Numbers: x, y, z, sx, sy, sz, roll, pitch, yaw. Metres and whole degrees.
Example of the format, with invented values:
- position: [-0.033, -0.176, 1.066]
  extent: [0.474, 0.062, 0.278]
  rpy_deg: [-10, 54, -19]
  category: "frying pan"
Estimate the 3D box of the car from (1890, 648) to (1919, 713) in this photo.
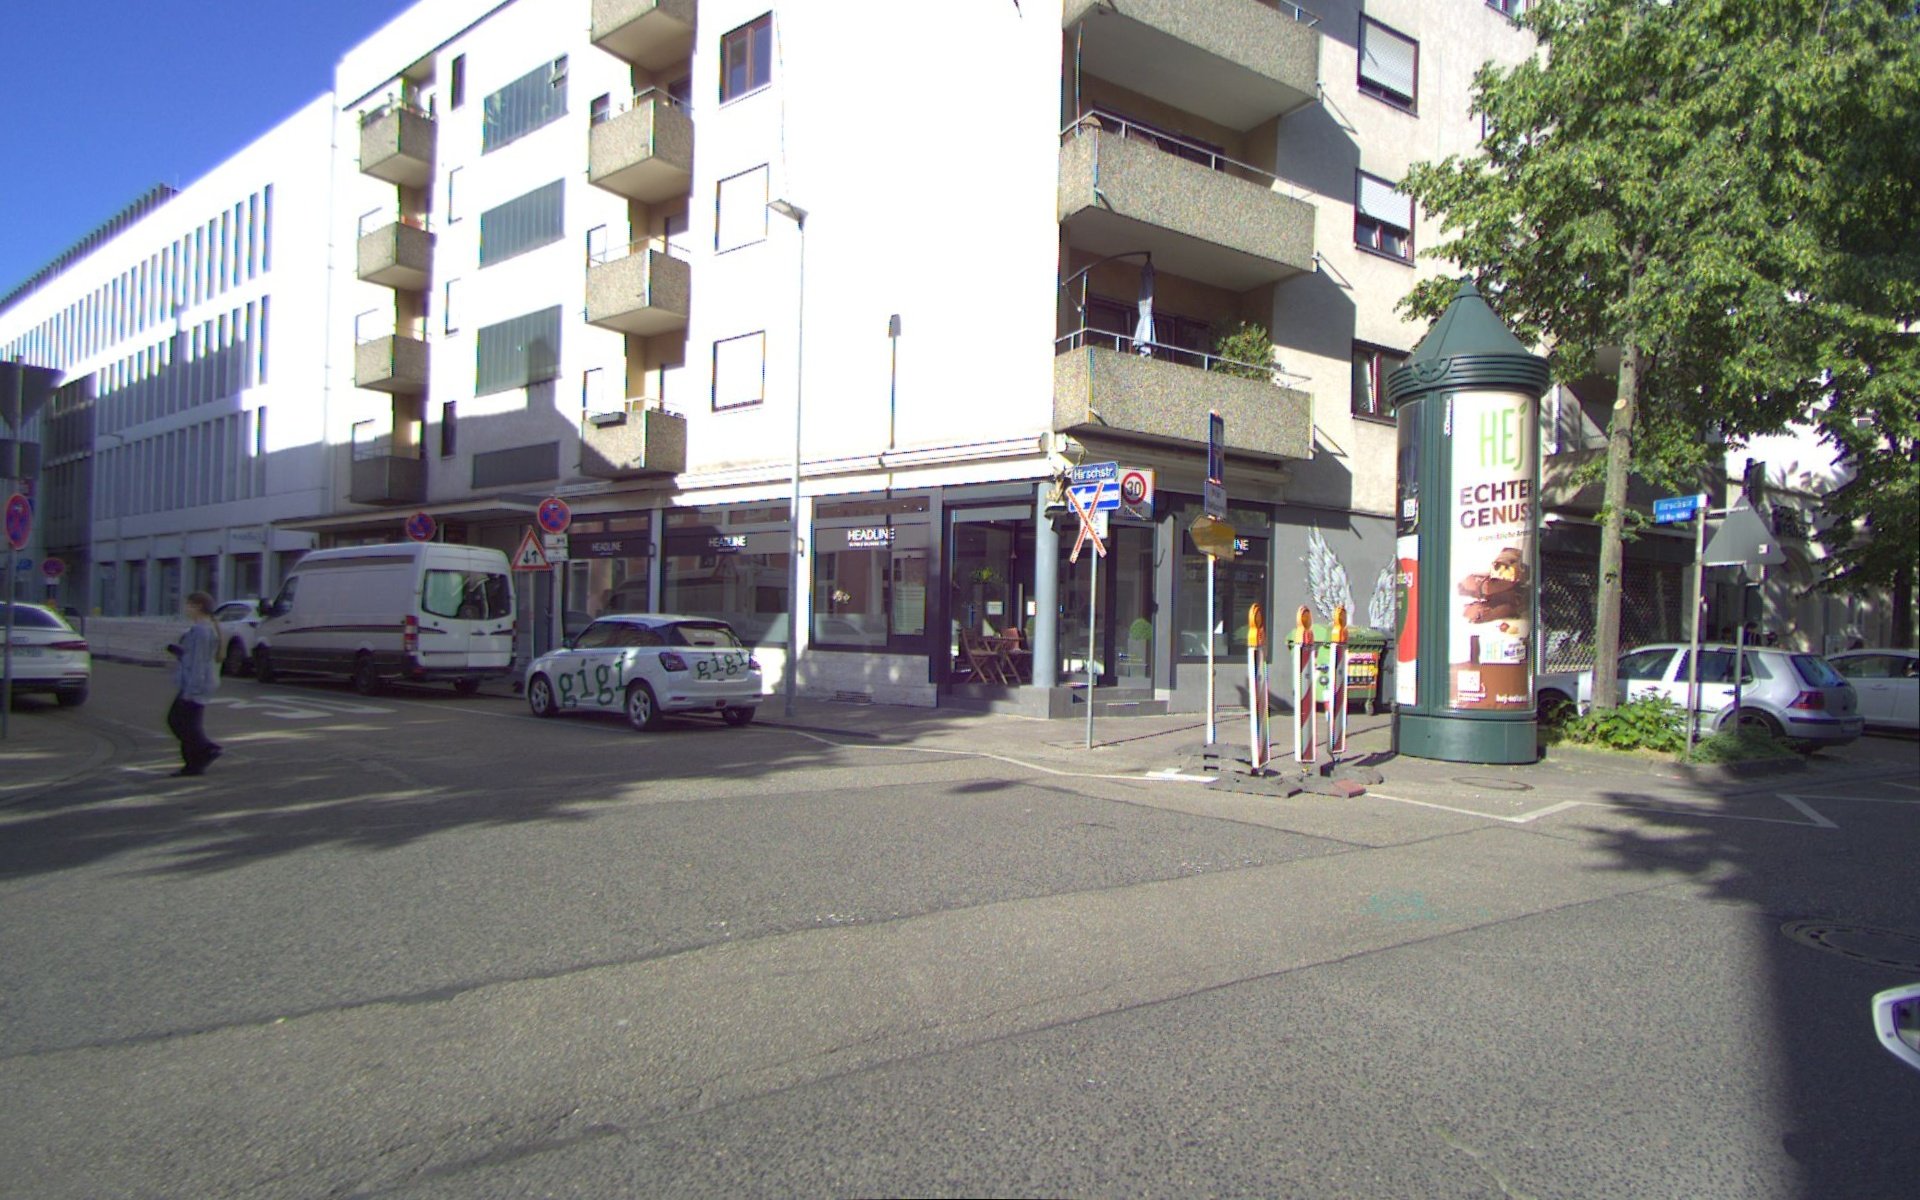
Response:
- position: [23.578, 1.904, 22.261]
  extent: [1.864, 1.483, 3.962]
  rpy_deg: [2, -1, -29]
  category: "car"

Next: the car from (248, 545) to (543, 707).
- position: [-10.772, 0.447, 18.939]
  extent: [6.398, 2.615, 2.219]
  rpy_deg: [0, -2, 34]
  category: "car"

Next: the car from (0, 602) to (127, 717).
- position: [-13.724, 0.782, 14.346]
  extent: [3.544, 1.496, 1.993]
  rpy_deg: [0, -2, 36]
  category: "car"

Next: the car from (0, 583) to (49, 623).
- position: [-35.998, 0.113, 37.864]
  extent: [3.456, 1.414, 1.775]
  rpy_deg: [0, -2, 36]
  category: "car"

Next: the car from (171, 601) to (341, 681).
- position: [-16.106, 0.901, 22.960]
  extent: [3.721, 1.665, 1.900]
  rpy_deg: [0, -2, 33]
  category: "car"

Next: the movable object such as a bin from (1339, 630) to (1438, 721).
- position: [7.369, 1.275, 17.301]
  extent: [1.243, 1.479, 1.028]
  rpy_deg: [2, -2, -29]
  category: "movable object such as a bin"

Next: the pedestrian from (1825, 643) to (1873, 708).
- position: [21.922, 1.853, 24.766]
  extent: [0.832, 1.514, 0.590]
  rpy_deg: [2, 1, -29]
  category: "pedestrian"

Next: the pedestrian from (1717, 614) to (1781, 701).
- position: [17.235, 1.251, 21.947]
  extent: [0.755, 1.790, 0.770]
  rpy_deg: [2, 3, -32]
  category: "pedestrian"

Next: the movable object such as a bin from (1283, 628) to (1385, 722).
- position: [6.200, 1.219, 16.666]
  extent: [1.243, 1.479, 1.028]
  rpy_deg: [2, -2, -29]
  category: "movable object such as a bin"

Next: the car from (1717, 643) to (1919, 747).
- position: [15.150, 1.550, 16.692]
  extent: [1.691, 1.483, 3.757]
  rpy_deg: [2, -1, -32]
  category: "car"

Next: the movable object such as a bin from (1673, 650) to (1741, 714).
- position: [17.516, 1.910, 23.561]
  extent: [1.211, 1.416, 0.818]
  rpy_deg: [3, -1, -28]
  category: "movable object such as a bin"

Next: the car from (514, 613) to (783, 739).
- position: [-4.401, 0.975, 14.066]
  extent: [3.546, 1.496, 1.897]
  rpy_deg: [0, -2, 38]
  category: "car"

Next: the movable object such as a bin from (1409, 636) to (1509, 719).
- position: [9.078, 1.385, 18.284]
  extent: [1.335, 1.433, 1.073]
  rpy_deg: [2, -2, -29]
  category: "movable object such as a bin"

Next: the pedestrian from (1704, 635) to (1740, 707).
- position: [18.371, 1.700, 24.226]
  extent: [0.631, 1.694, 0.432]
  rpy_deg: [2, -1, -28]
  category: "pedestrian"

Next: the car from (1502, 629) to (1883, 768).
- position: [10.146, 1.292, 14.243]
  extent: [1.728, 1.483, 3.979]
  rpy_deg: [4, -1, -30]
  category: "car"

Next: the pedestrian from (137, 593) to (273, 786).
- position: [-6.706, 0.766, 8.965]
  extent: [0.853, 1.623, 0.645]
  rpy_deg: [2, 0, -30]
  category: "pedestrian"

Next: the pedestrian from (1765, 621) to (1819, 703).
- position: [17.626, 1.308, 21.288]
  extent: [0.719, 1.648, 0.562]
  rpy_deg: [2, 3, -32]
  category: "pedestrian"
